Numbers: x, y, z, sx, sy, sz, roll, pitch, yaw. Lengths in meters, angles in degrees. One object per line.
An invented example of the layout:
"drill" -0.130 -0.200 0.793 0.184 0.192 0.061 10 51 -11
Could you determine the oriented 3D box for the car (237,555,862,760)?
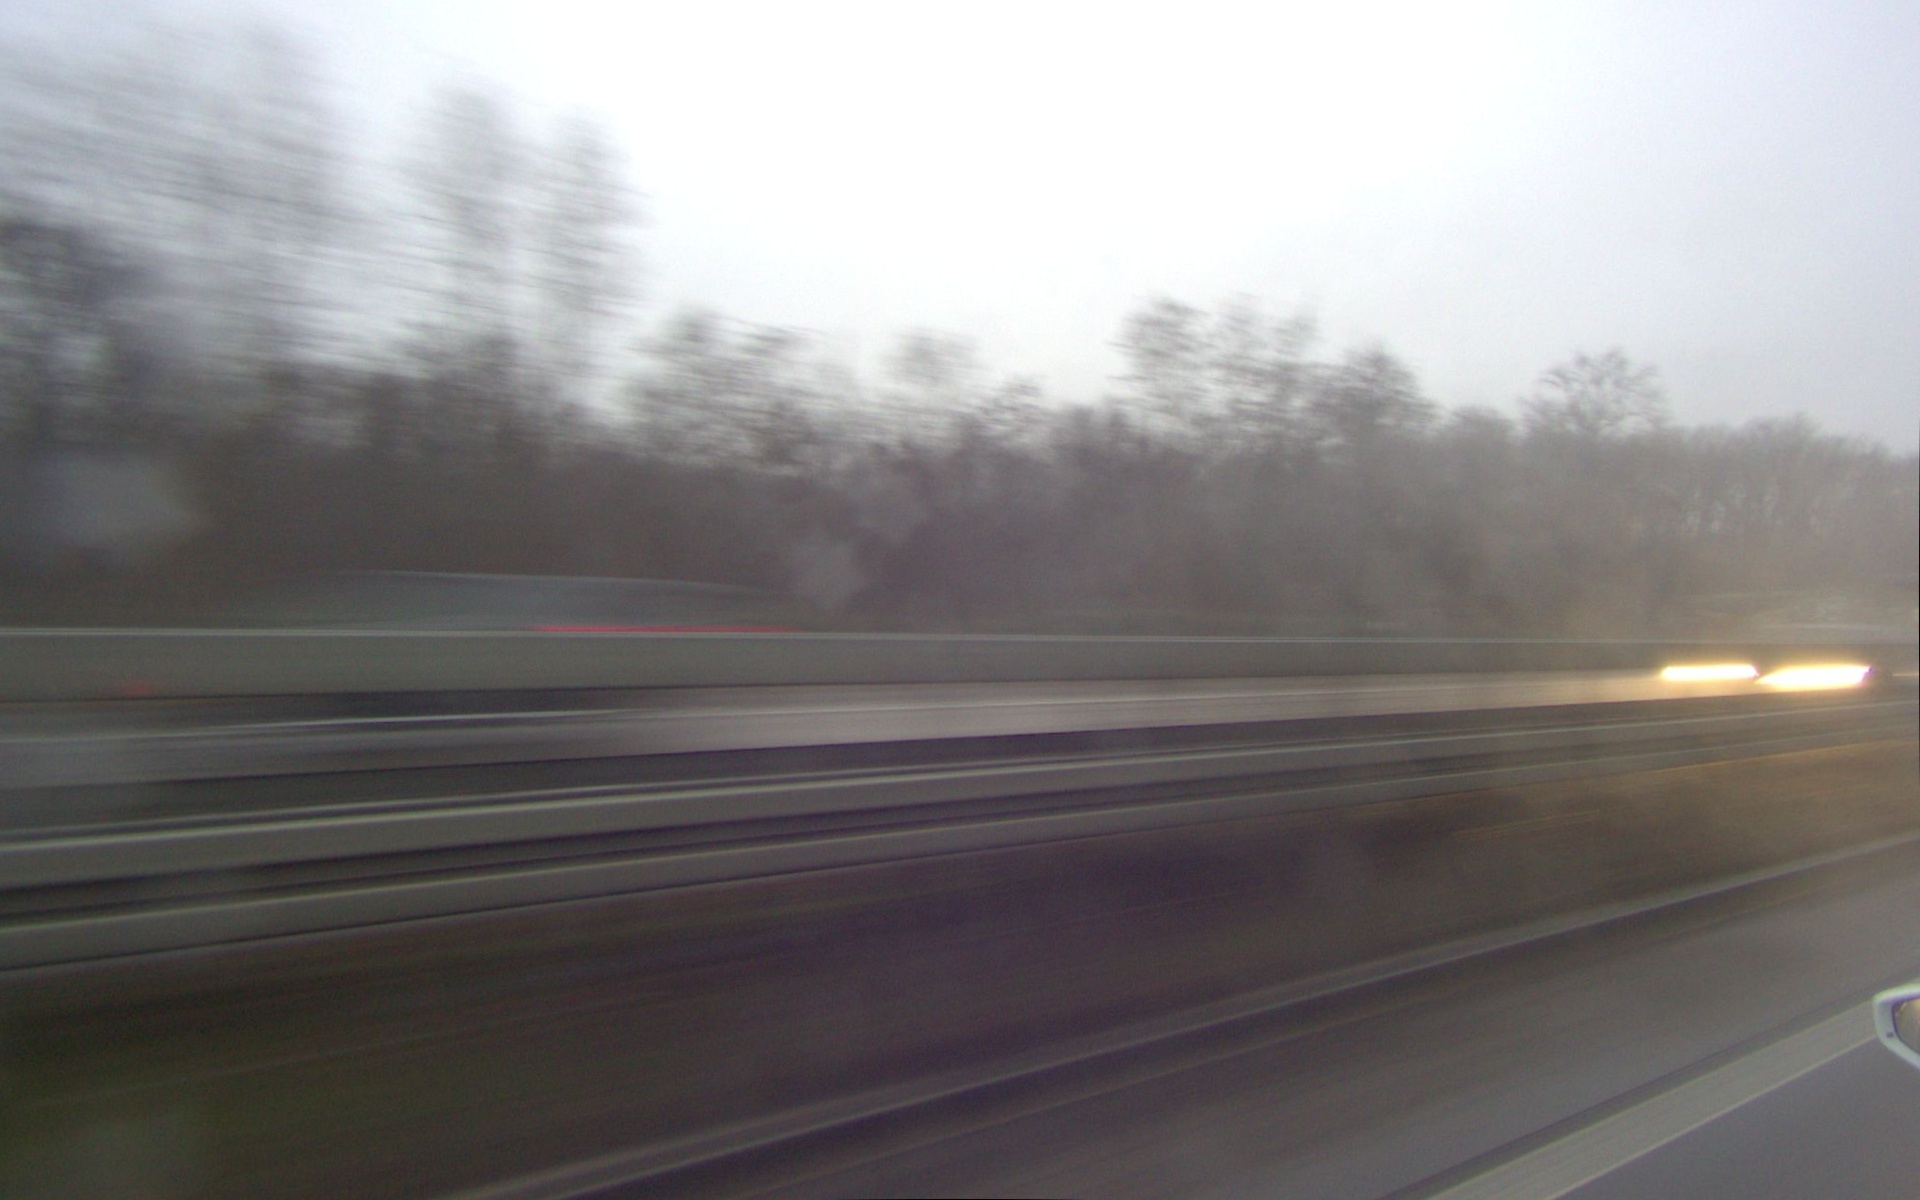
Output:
"car" -3.860 0.496 10.140 5.367 1.617 1.983 2 1 -31
